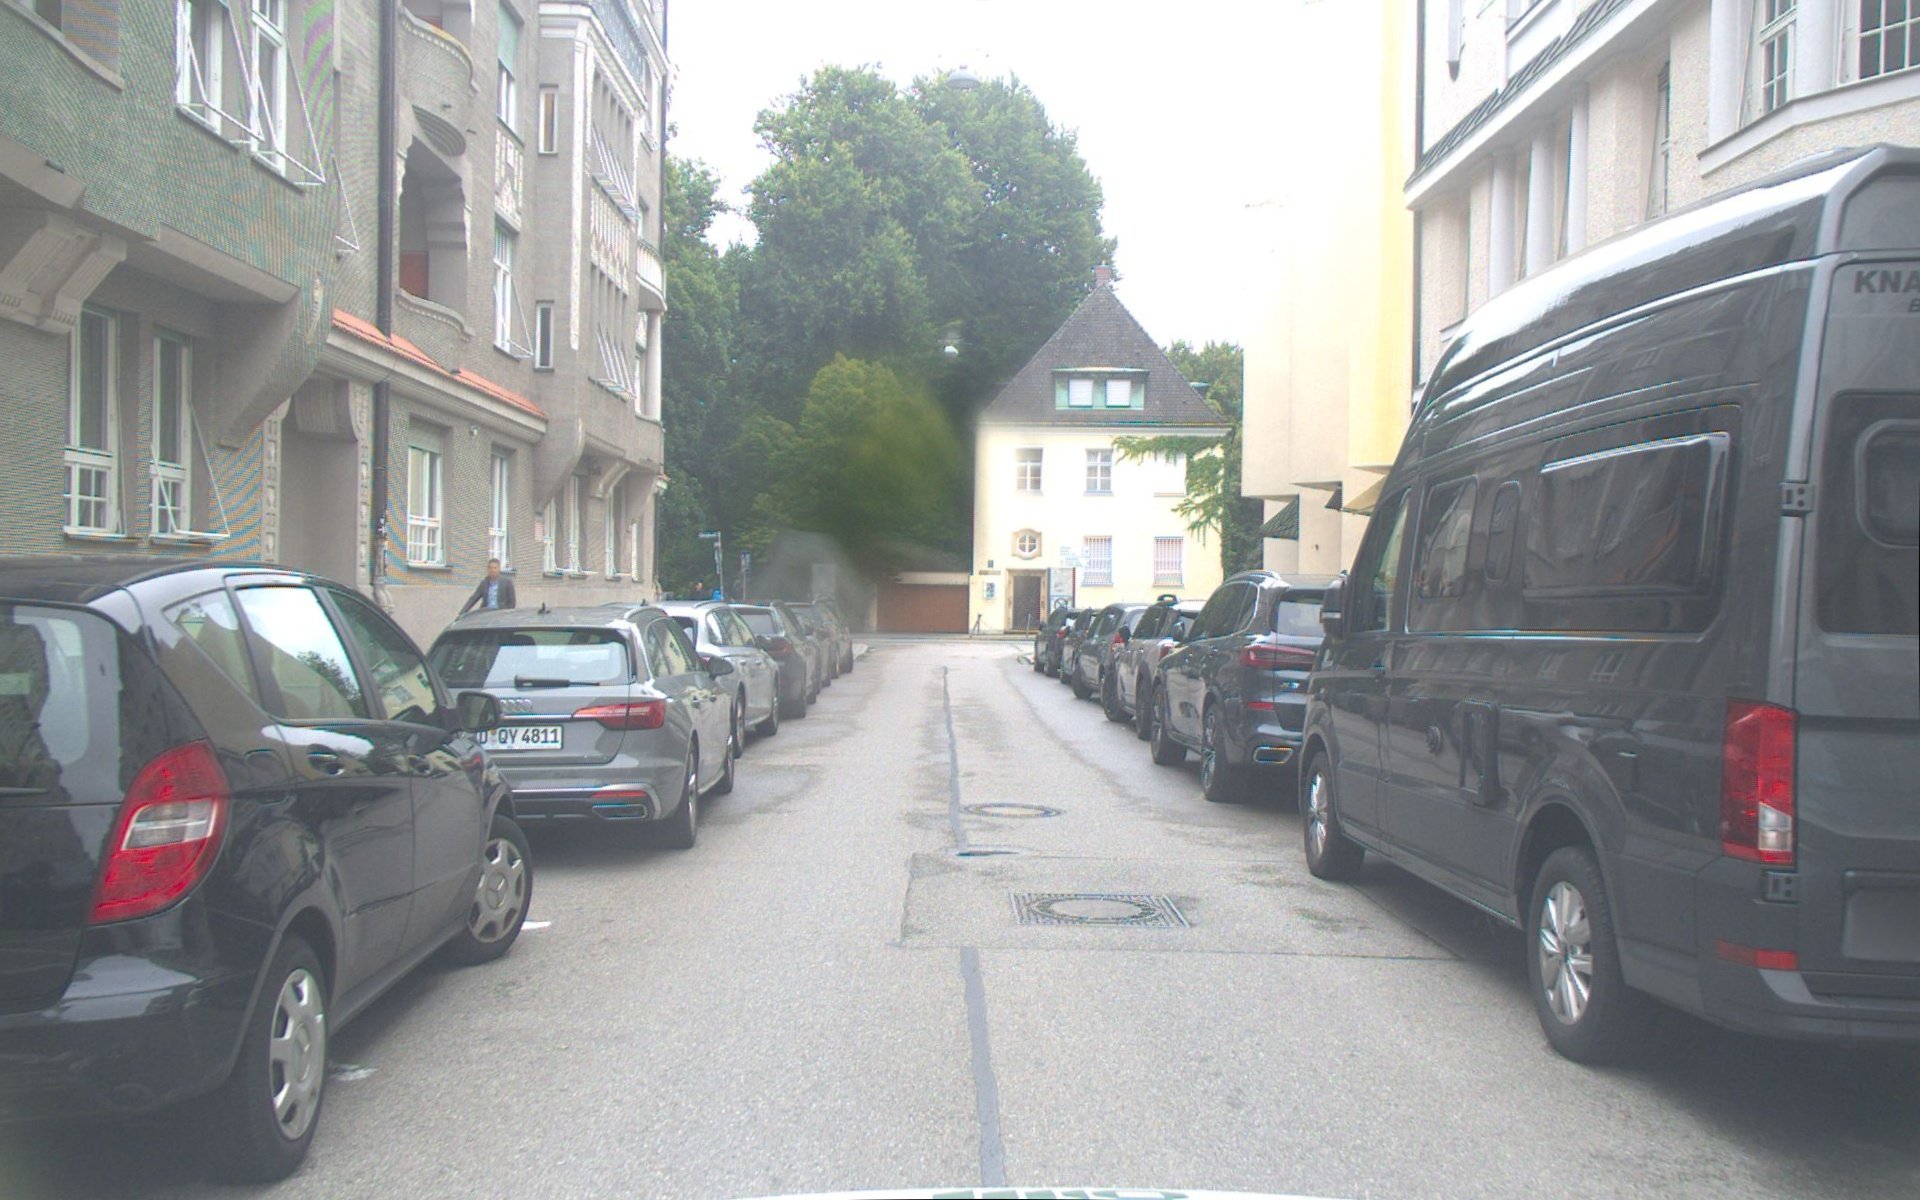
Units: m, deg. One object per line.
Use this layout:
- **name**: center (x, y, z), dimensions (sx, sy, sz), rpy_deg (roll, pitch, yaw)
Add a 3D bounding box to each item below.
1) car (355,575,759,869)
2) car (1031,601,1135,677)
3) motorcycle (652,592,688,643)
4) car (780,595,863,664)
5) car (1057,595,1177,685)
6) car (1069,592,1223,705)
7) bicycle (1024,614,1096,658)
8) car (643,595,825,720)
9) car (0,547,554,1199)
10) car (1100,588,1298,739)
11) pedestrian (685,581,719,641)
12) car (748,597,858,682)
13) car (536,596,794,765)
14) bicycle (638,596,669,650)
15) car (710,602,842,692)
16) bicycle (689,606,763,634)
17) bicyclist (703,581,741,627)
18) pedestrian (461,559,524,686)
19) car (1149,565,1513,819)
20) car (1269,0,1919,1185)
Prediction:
- **car**: center (-2.411, 0.646, 11.080), dimensions (1.800, 1.540, 4.605), rpy_deg (1, 0, -3)
- **car**: center (2.590, 0.800, 35.731), dimensions (1.659, 1.497, 4.608), rpy_deg (1, 0, -3)
- **motorcycle**: center (-8.621, 0.505, 49.234), dimensions (0.721, 1.466, 2.146), rpy_deg (1, 0, -2)
- **car**: center (-3.157, 0.650, 38.174), dimensions (1.669, 1.541, 2.911), rpy_deg (0, 0, 0)
- **car**: center (2.784, 0.681, 30.035), dimensions (1.601, 1.497, 3.853), rpy_deg (1, 0, -3)
- **car**: center (2.759, 0.685, 25.276), dimensions (1.602, 1.563, 3.851), rpy_deg (1, 0, -5)
- **bicycle**: center (2.610, 0.941, 43.142), dimensions (1.756, 1.104, 0.665), rpy_deg (0, 1, 26)
- **car**: center (-2.883, 0.682, 22.089), dimensions (1.953, 1.474, 4.776), rpy_deg (0, 0, -2)
- **car**: center (-2.573, 0.676, 5.424), dimensions (1.767, 1.599, 3.810), rpy_deg (1, 0, -4)
- **car**: center (2.772, 0.689, 19.970), dimensions (1.601, 1.620, 3.966), rpy_deg (1, 0, -3)
- **pedestrian**: center (-7.839, 0.333, 50.309), dimensions (0.821, 1.818, 0.936), rpy_deg (1, 0, 2)
- **car**: center (-3.035, 0.729, 32.855), dimensions (1.719, 1.541, 4.707), rpy_deg (0, 0, 0)
- **car**: center (-2.828, 0.705, 16.829), dimensions (1.768, 1.456, 4.439), rpy_deg (-1, 0, 0)
- **bicycle**: center (-7.903, 0.577, 42.677), dimensions (0.606, 1.373, 1.673), rpy_deg (1, 0, -5)
- **car**: center (-2.980, 0.726, 27.485), dimensions (1.719, 1.354, 4.096), rpy_deg (0, 0, 0)
- **bicycle**: center (-8.778, 0.750, 62.189), dimensions (2.556, 1.005, 0.988), rpy_deg (1, 0, 14)
- **bicyclist**: center (-8.953, 0.154, 62.236), dimensions (1.100, 1.680, 0.988), rpy_deg (1, 0, 14)
- **pedestrian**: center (-6.930, 0.328, 24.535), dimensions (0.702, 1.849, 0.730), rpy_deg (1, 0, -2)
- **car**: center (2.874, 0.637, 13.939), dimensions (1.953, 1.718, 4.674), rpy_deg (2, 0, 0)
- **car**: center (3.131, 0.021, 7.248), dimensions (2.209, 3.011, 6.130), rpy_deg (2, -1, -1)
